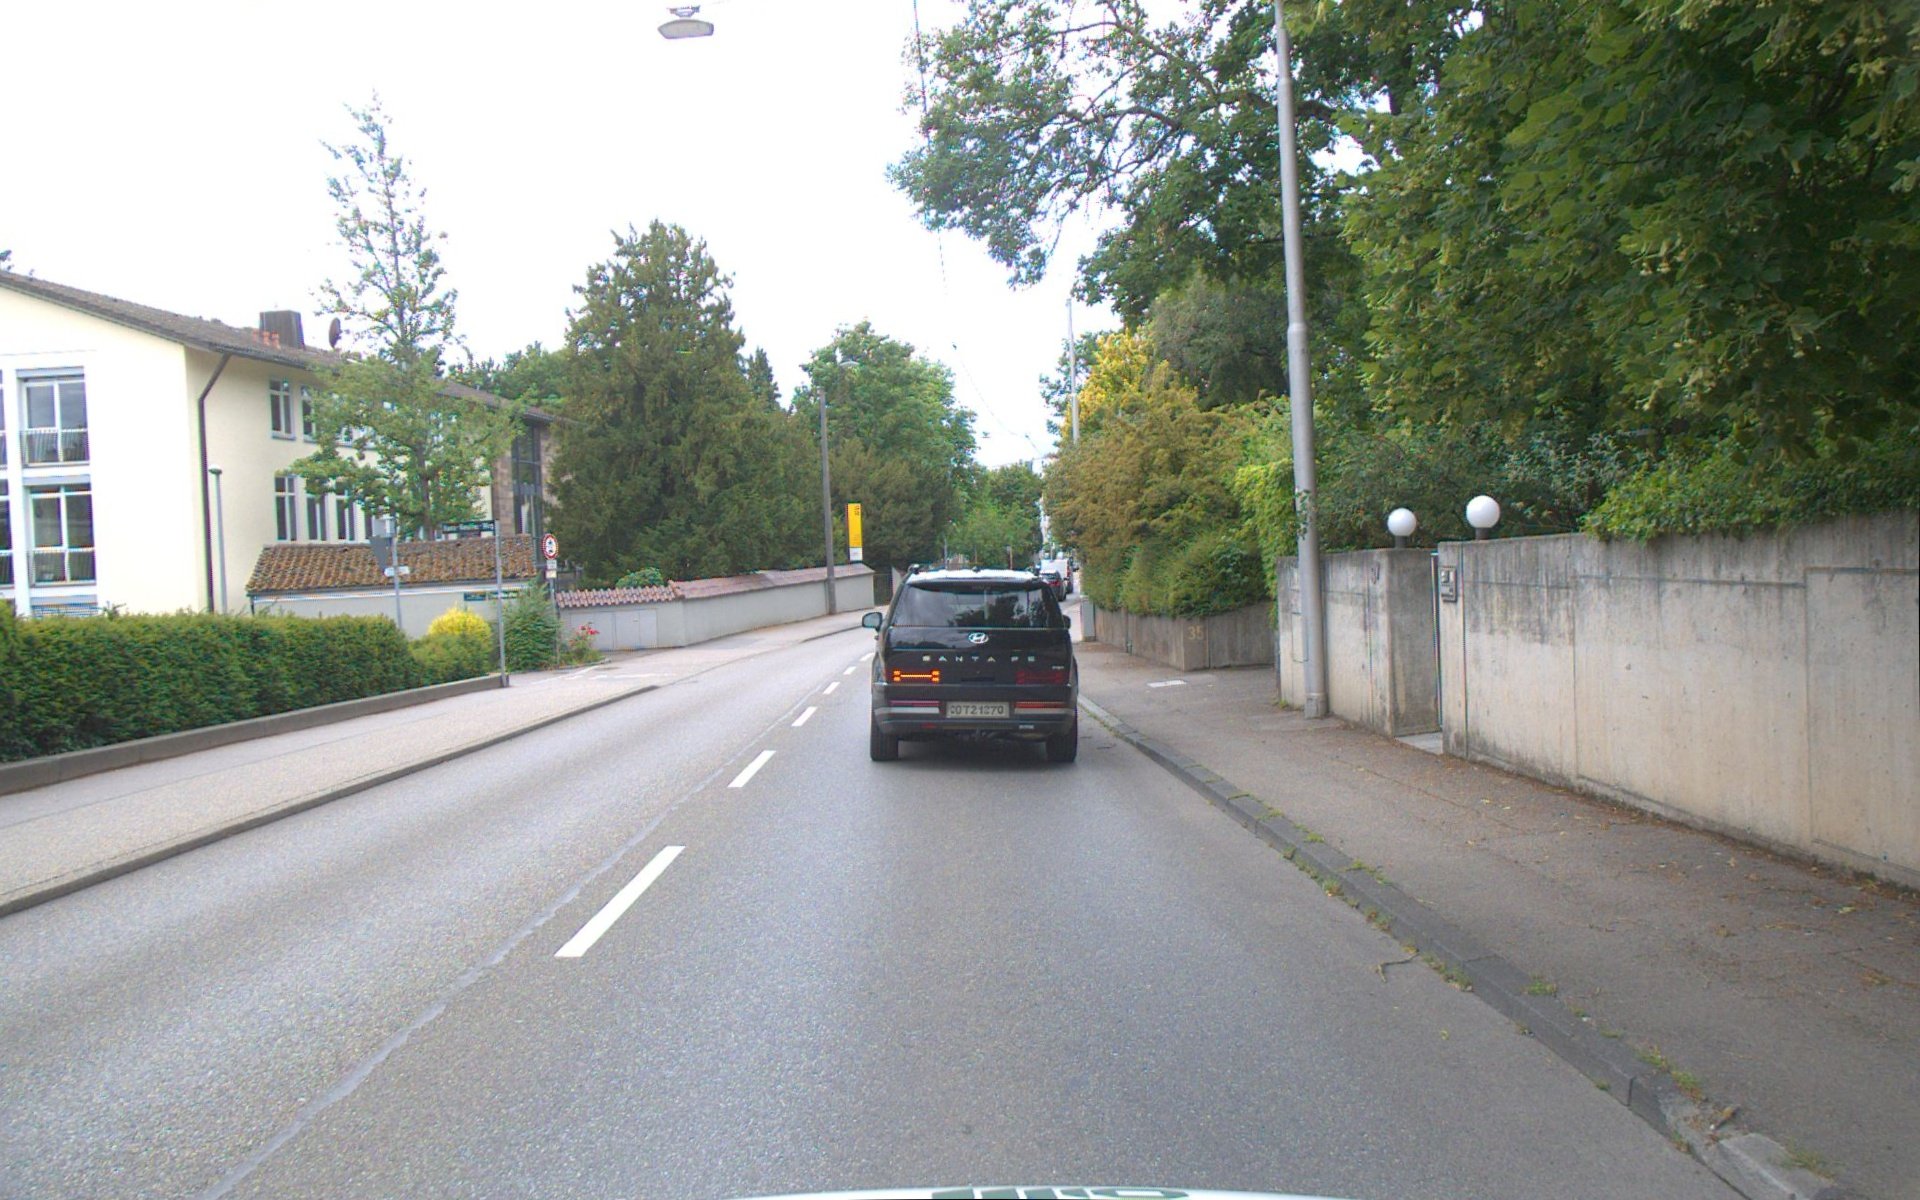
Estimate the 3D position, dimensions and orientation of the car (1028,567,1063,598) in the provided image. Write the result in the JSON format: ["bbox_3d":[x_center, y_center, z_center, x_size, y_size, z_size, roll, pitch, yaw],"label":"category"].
[{"bbox_3d":[4.319,-0.897,82.899,1.640,1.447,3.940,-2,1,4],"label":"car"}]

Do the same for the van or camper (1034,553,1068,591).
[{"bbox_3d":[5.382,-1.678,97.577,1.640,2.042,3.942,-3,2,7],"label":"van or camper"}]

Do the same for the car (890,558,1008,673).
[{"bbox_3d":[-0.146,0.222,31.978,1.916,1.989,4.227,0,3,4],"label":"car"}]

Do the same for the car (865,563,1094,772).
[{"bbox_3d":[0.136,0.529,15.973,1.917,1.742,4.223,0,1,-1],"label":"car"}]
